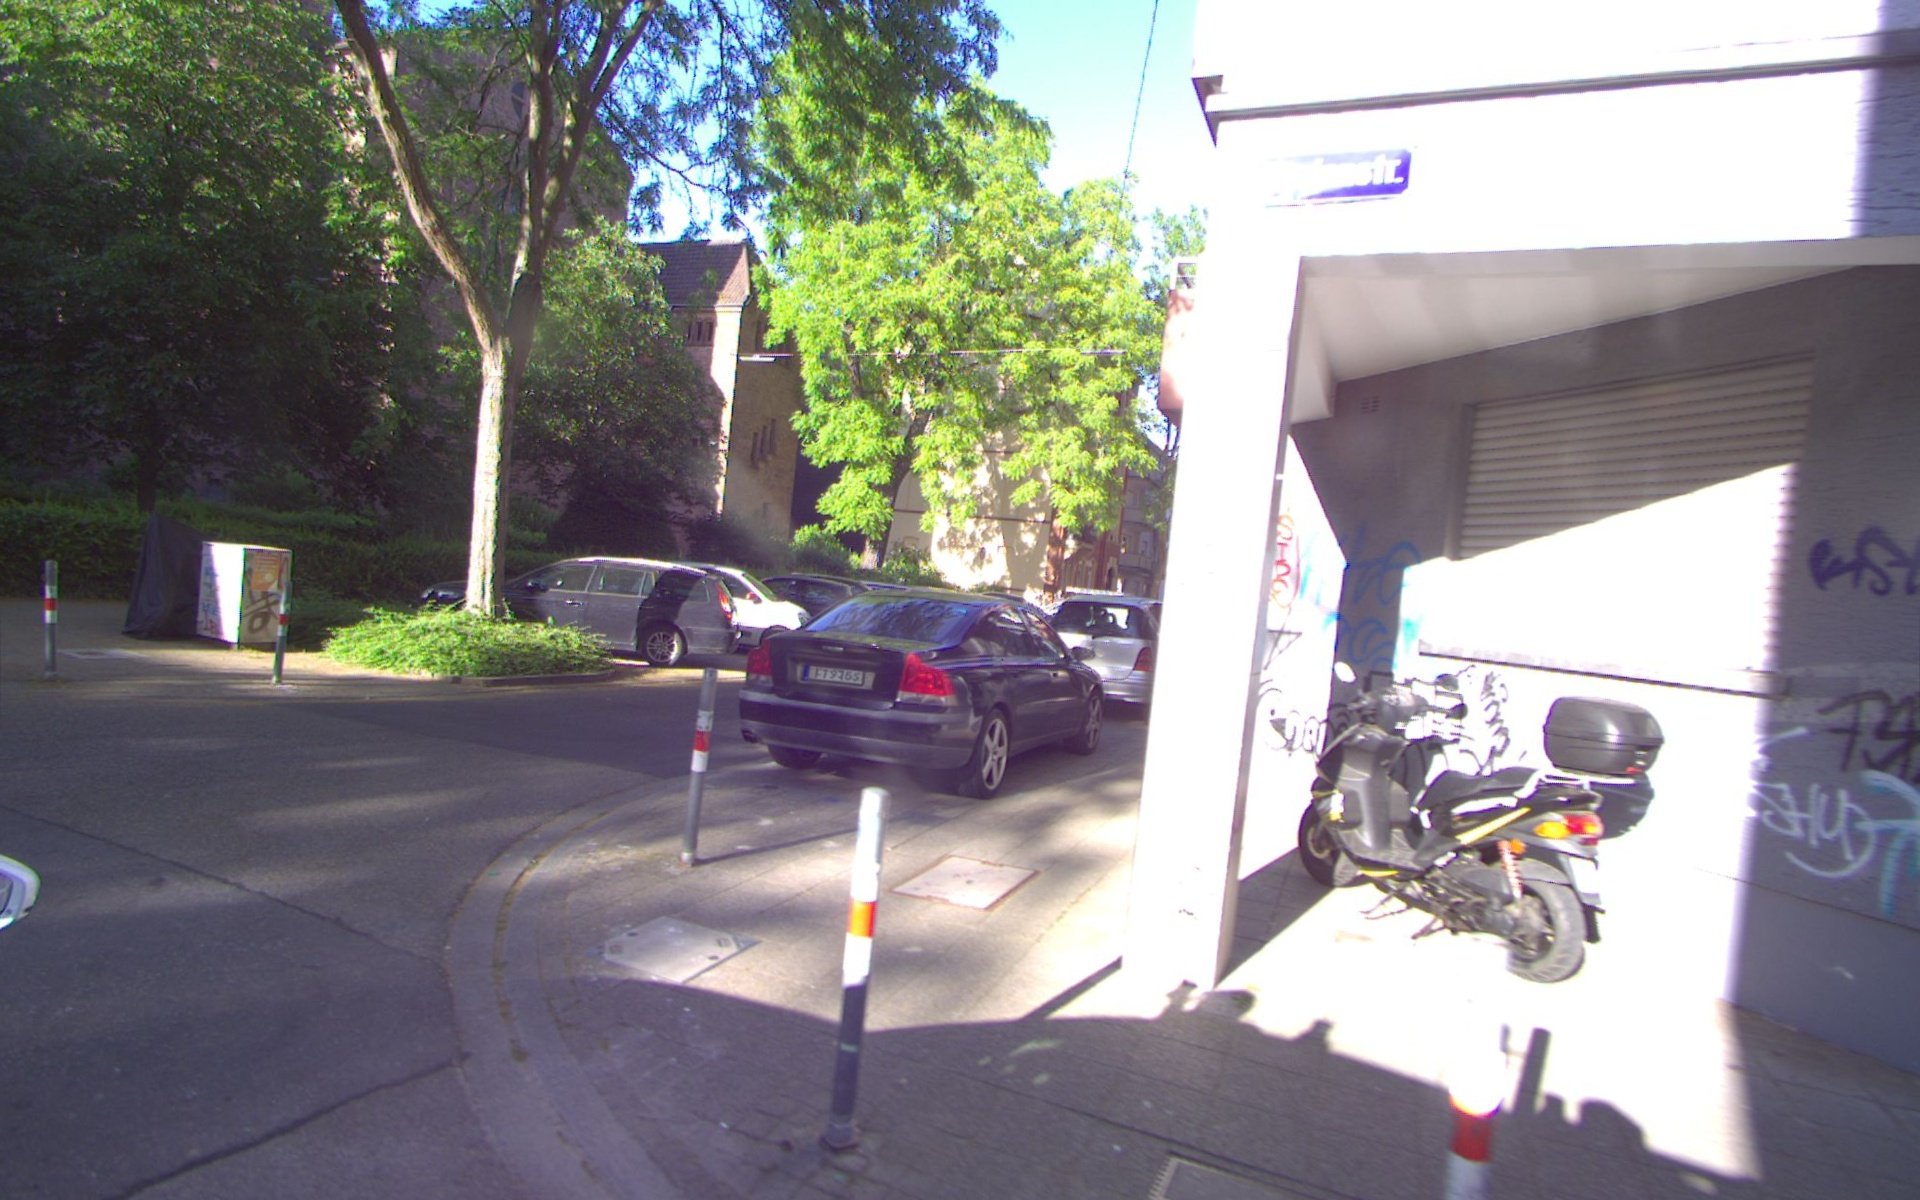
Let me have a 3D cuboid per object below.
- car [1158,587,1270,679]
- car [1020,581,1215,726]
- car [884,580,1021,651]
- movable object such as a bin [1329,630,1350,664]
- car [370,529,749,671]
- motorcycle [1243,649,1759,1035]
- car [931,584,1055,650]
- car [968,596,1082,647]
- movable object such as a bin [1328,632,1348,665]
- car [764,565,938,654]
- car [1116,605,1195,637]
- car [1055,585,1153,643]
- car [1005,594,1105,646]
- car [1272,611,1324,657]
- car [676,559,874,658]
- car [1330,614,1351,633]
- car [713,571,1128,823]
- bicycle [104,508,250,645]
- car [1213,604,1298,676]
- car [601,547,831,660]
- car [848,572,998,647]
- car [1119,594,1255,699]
[{"bbox_3d":[6.018,0.758,23.517,1.963,1.750,3.998,7,1,20],"label":"car"},{"bbox_3d":[2.378,0.689,14.225,1.835,1.638,3.997,4,0,21],"label":"car"},{"bbox_3d":[-0.160,0.423,29.185,3.698,1.639,1.721,6,2,4],"label":"car"},{"bbox_3d":[14.503,1.785,38.458,0.594,1.226,0.533,7,2,23],"label":"movable object such as a bin"},{"bbox_3d":[-5.893,0.007,15.419,5.015,1.572,1.799,5,1,-10],"label":"car"},{"bbox_3d":[2.316,0.939,4.739,0.732,1.243,2.148,3,1,-19],"label":"motorcycle"},{"bbox_3d":[1.063,0.516,31.945,3.698,1.639,1.721,6,2,4],"label":"car"},{"bbox_3d":[2.225,0.704,34.373,3.698,1.299,1.585,6,1,4],"label":"car"},{"bbox_3d":[14.711,1.876,39.176,0.594,1.226,0.533,7,2,23],"label":"movable object such as a bin"},{"bbox_3d":[-2.520,0.207,23.741,3.698,1.639,1.721,6,2,4],"label":"car"},{"bbox_3d":[10.585,1.121,54.588,3.924,1.313,1.794,6,2,4],"label":"car"},{"bbox_3d":[6.081,0.572,42.730,3.701,2.065,1.773,6,2,-3],"label":"car"},{"bbox_3d":[3.716,0.751,39.681,3.698,1.639,1.585,6,2,4],"label":"car"},{"bbox_3d":[15.907,1.569,47.209,1.963,1.831,4.516,6,1,21],"label":"car"},{"bbox_3d":[-3.865,0.157,21.422,3.698,1.639,1.721,6,2,4],"label":"car"},{"bbox_3d":[40.001,2.461,105.752,1.796,1.747,4.043,6,1,23],"label":"car"},{"bbox_3d":[0.011,0.641,8.547,1.816,1.406,4.358,6,1,22],"label":"car"},{"bbox_3d":[-8.983,-0.307,11.645,0.767,1.389,2.111,5,2,-24],"label":"bicycle"},{"bbox_3d":[8.630,1.120,29.161,1.963,1.719,3.997,7,1,20],"label":"car"},{"bbox_3d":[-4.483,0.056,18.819,3.698,1.639,1.721,6,2,4],"label":"car"},{"bbox_3d":[-0.951,0.241,26.508,3.700,1.540,1.720,6,1,-1],"label":"car"},{"bbox_3d":[4.422,0.836,19.122,1.963,1.683,3.997,3,0,20],"label":"car"}]
